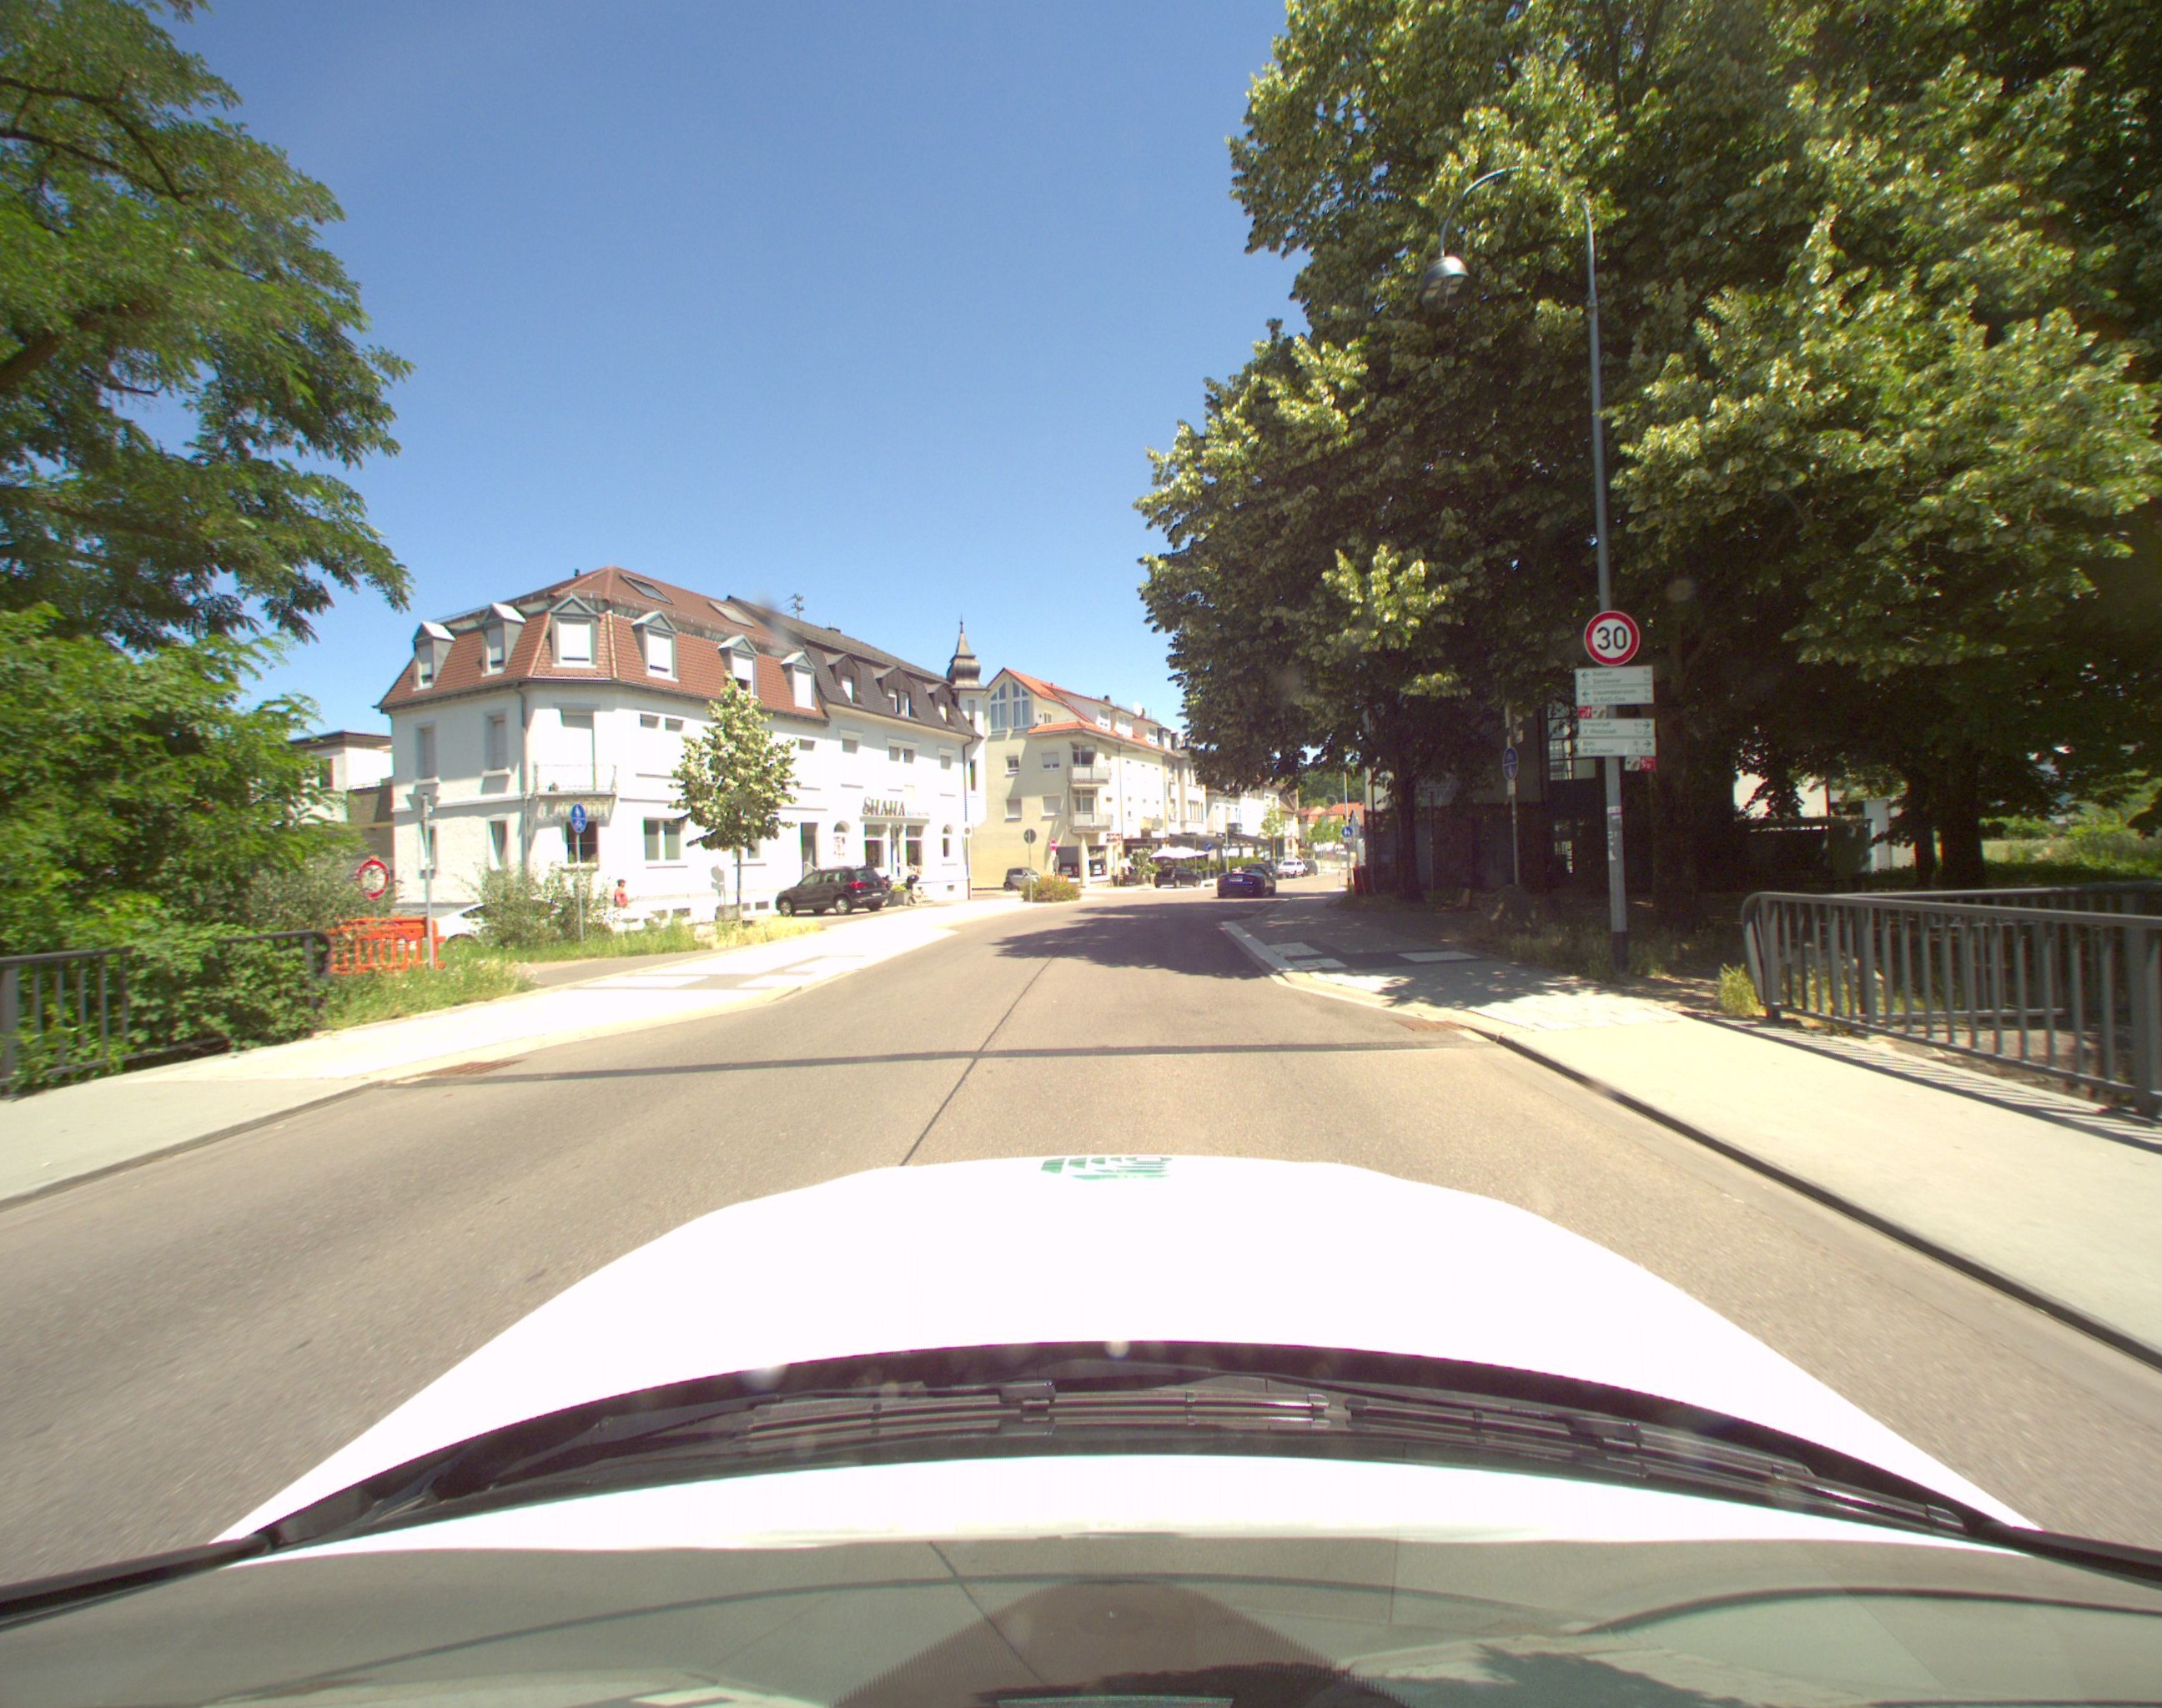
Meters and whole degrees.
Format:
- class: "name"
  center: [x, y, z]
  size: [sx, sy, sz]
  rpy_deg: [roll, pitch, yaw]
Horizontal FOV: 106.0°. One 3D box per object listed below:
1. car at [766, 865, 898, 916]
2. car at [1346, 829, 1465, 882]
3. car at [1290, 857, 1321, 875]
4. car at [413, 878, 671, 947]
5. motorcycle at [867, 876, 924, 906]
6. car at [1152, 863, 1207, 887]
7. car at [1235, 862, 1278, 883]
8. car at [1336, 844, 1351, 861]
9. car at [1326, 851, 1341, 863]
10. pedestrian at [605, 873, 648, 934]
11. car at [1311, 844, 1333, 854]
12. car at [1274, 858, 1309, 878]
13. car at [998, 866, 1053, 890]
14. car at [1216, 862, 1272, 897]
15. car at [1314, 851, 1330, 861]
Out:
- class: "car"
  center: [-8.893, 1.305, 29.072]
  size: [4.143, 1.662, 1.982]
  rpy_deg: [-2, -1, 23]
- class: "car"
  center: [18.230, 0.109, 45.815]
  size: [5.884, 2.732, 2.209]
  rpy_deg: [-2, -1, 27]
- class: "car"
  center: [20.135, 1.091, 73.100]
  size: [1.654, 1.443, 4.035]
  rpy_deg: [-2, 0, 30]
- class: "car"
  center: [-12.720, 1.348, 19.553]
  size: [4.693, 1.356, 1.993]
  rpy_deg: [-2, -1, -10]
- class: "motorcycle"
  center: [-7.956, 1.600, 34.920]
  size: [2.373, 1.218, 0.838]
  rpy_deg: [-2, -2, 25]
- class: "car"
  center: [6.472, 1.324, 53.229]
  size: [1.696, 1.460, 4.156]
  rpy_deg: [0, 0, 37]
- class: "car"
  center: [13.396, 1.412, 61.920]
  size: [1.817, 1.429, 4.812]
  rpy_deg: [-1, 0, 30]
- class: "car"
  center: [38.922, -0.225, 120.858]
  size: [1.852, 2.401, 4.839]
  rpy_deg: [-2, 0, 16]
- class: "car"
  center: [40.337, 0.474, 130.029]
  size: [1.979, 1.738, 4.015]
  rpy_deg: [-2, -1, 14]
- class: "pedestrian"
  center: [-13.557, 1.465, 24.283]
  size: [0.730, 1.754, 0.740]
  rpy_deg: [-4, -2, 9]
- class: "car"
  center: [53.670, -1.065, 181.253]
  size: [4.268, 2.014, 1.988]
  rpy_deg: [0, -3, -17]
- class: "car"
  center: [17.696, 1.151, 68.386]
  size: [1.629, 1.479, 3.966]
  rpy_deg: [0, 1, 33]
- class: "car"
  center: [-3.750, 1.639, 54.829]
  size: [3.233, 1.458, 1.701]
  rpy_deg: [-2, 0, 23]
- class: "car"
  center: [7.048, 1.044, 34.889]
  size: [1.856, 1.342, 4.617]
  rpy_deg: [-1, 0, 18]
- class: "car"
  center: [42.119, 0.265, 142.353]
  size: [1.982, 1.692, 4.009]
  rpy_deg: [-1, 0, 8]
